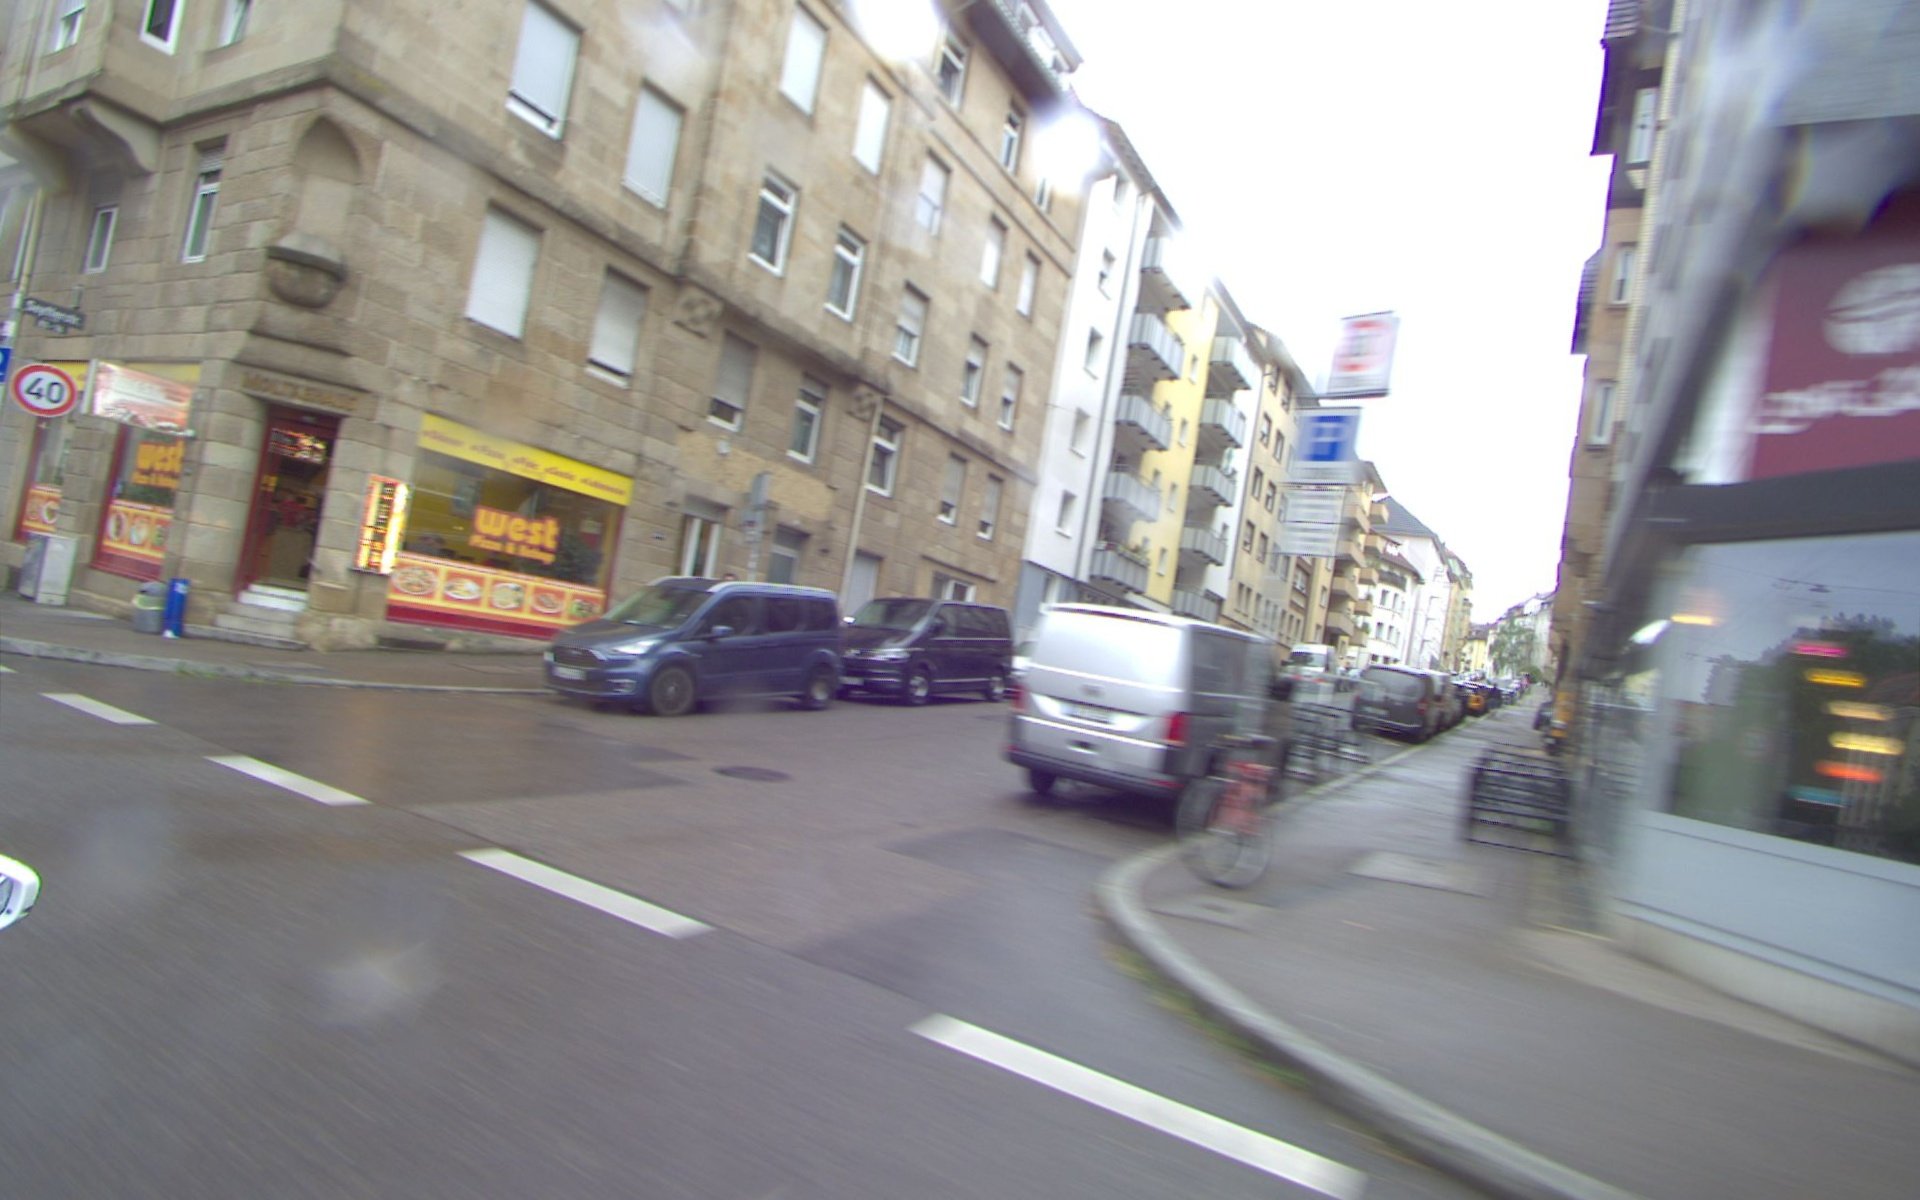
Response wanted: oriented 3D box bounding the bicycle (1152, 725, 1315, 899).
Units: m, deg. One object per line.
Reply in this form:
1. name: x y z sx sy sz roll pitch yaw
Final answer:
1. bicycle: 1.959 1.422 7.024 0.524 0.983 1.753 7 -4 32

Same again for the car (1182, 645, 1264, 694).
1. car: 9.863 2.628 37.528 1.830 1.501 4.180 7 -1 30

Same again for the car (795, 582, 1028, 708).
1. car: -0.739 0.876 18.915 1.967 1.949 4.710 5 -1 31

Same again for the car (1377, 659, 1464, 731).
1. car: 14.530 2.989 31.594 1.892 1.825 4.480 8 -1 30

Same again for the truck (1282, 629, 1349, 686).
1. truck: 18.198 3.010 51.273 1.830 2.553 6.710 7 -1 30

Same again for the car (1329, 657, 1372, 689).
1. car: 23.710 4.417 60.989 1.725 1.667 3.994 7 -1 30

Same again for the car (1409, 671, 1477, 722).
1. car: 18.266 3.650 37.961 1.892 1.521 4.101 8 -1 30

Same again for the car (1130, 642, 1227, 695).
1. car: 7.272 2.278 33.165 1.830 1.408 4.180 7 -1 30

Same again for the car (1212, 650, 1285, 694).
1. car: 11.936 2.971 41.464 1.830 1.501 4.180 7 -1 30

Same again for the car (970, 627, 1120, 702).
1. car: 2.120 1.558 23.888 1.830 1.408 4.180 7 -1 30

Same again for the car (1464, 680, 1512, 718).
1. car: 26.202 4.918 49.867 1.794 1.521 4.101 8 -1 30

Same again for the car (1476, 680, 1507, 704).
1. car: 41.120 7.108 77.793 1.892 1.521 4.101 8 -1 30

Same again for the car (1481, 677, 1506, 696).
1. car: 52.959 8.589 99.858 1.892 1.521 4.418 8 -1 30

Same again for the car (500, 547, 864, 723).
1. car: -3.615 0.556 14.121 1.966 1.884 4.786 7 -1 30

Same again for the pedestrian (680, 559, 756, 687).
1. pedestrian: -4.106 0.401 17.080 0.744 2.038 0.627 9 1 32

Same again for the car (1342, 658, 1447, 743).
1. car: 11.560 2.645 26.573 1.892 1.759 4.480 8 -1 30
